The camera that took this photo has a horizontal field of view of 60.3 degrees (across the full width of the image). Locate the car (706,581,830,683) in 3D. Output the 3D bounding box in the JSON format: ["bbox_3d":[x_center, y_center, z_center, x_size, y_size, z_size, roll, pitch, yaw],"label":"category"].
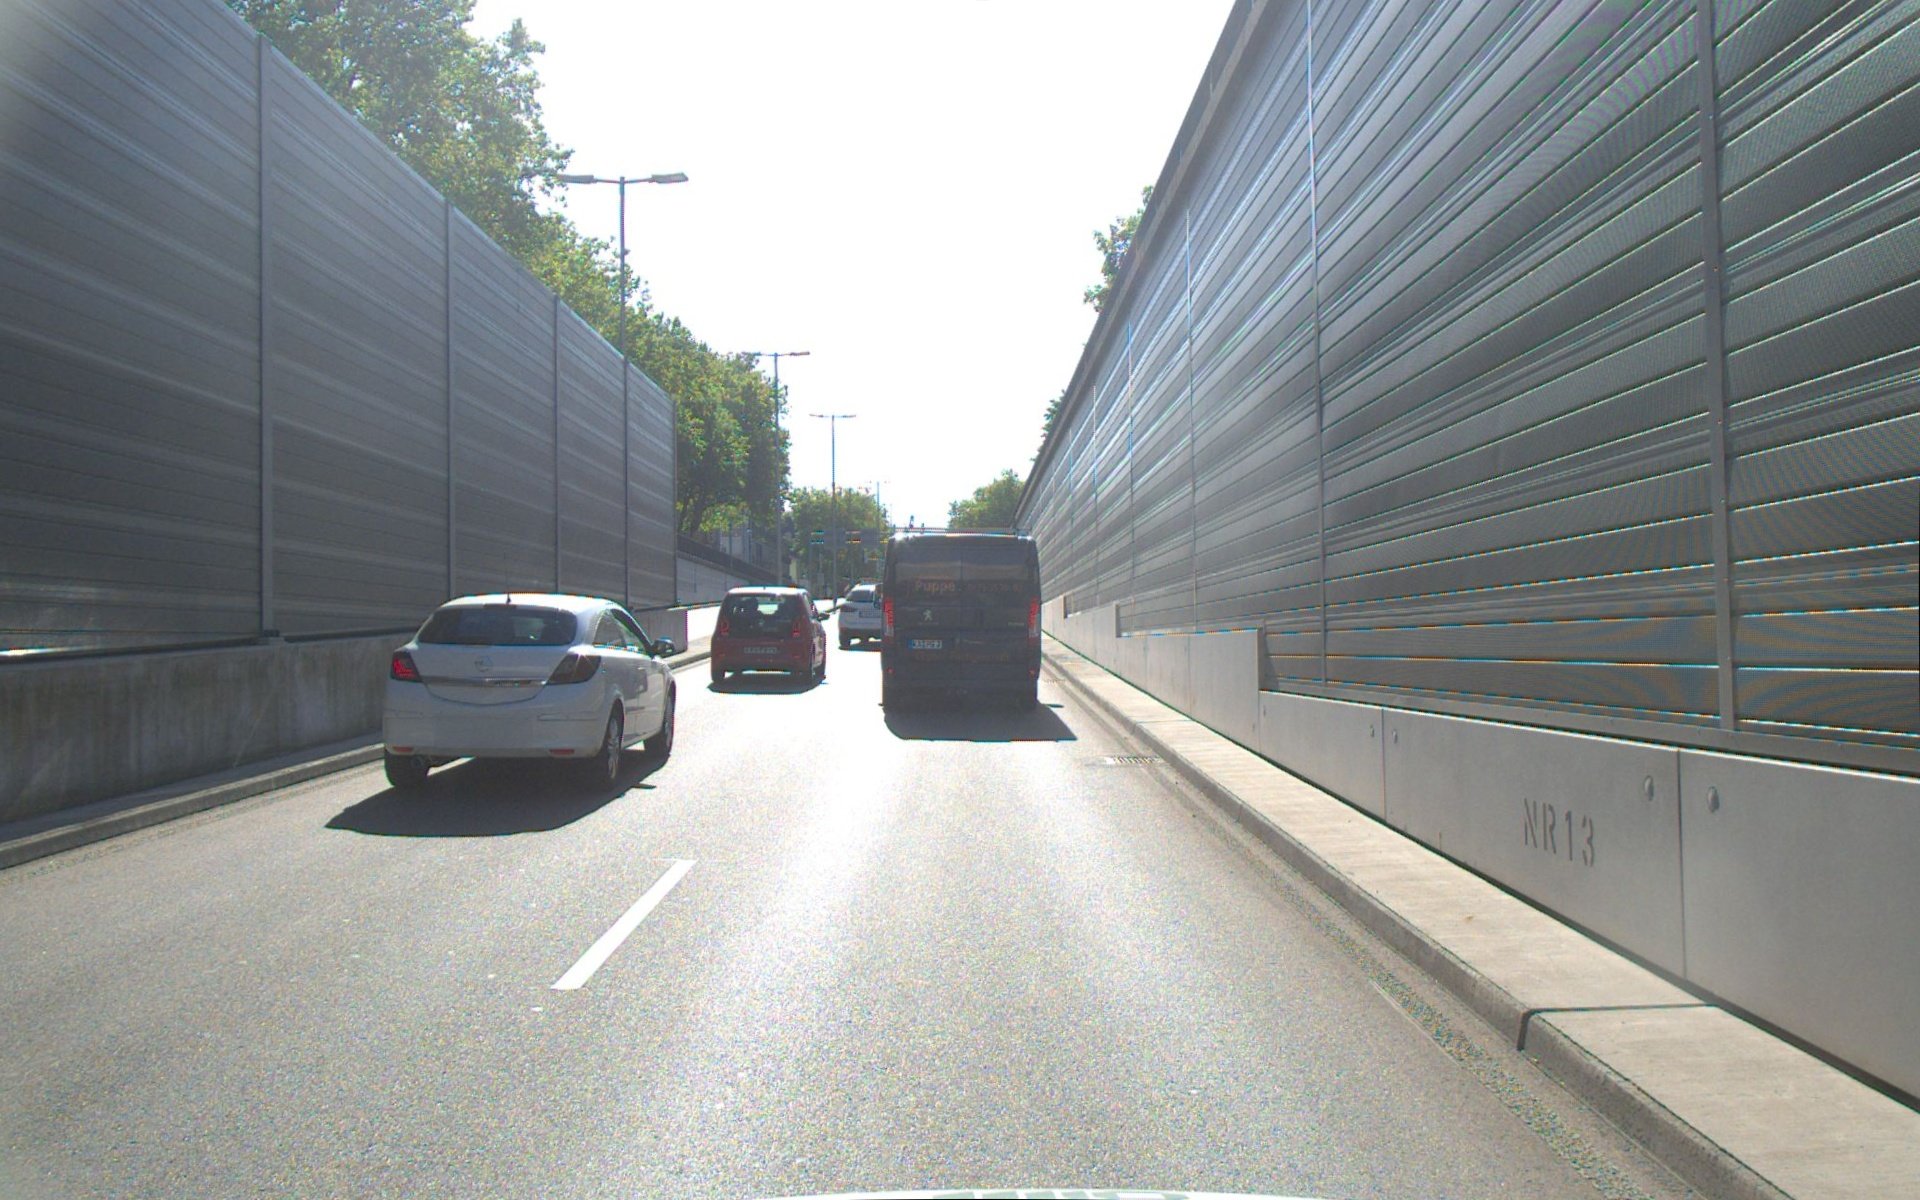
[{"bbox_3d":[-3.038,0.471,26.771,1.654,1.509,3.318,0,1,-1],"label":"car"}]

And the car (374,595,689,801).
[{"bbox_3d":[-3.304,0.679,13.476,1.586,1.428,3.851,0,0,-1],"label":"car"}]

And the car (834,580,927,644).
[{"bbox_3d":[-1.907,0.256,40.773,1.852,1.500,3.993,0,1,3],"label":"car"}]

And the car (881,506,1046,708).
[{"bbox_3d":[0.040,0.077,22.063,1.988,2.444,3.972,0,0,0],"label":"car"}]
